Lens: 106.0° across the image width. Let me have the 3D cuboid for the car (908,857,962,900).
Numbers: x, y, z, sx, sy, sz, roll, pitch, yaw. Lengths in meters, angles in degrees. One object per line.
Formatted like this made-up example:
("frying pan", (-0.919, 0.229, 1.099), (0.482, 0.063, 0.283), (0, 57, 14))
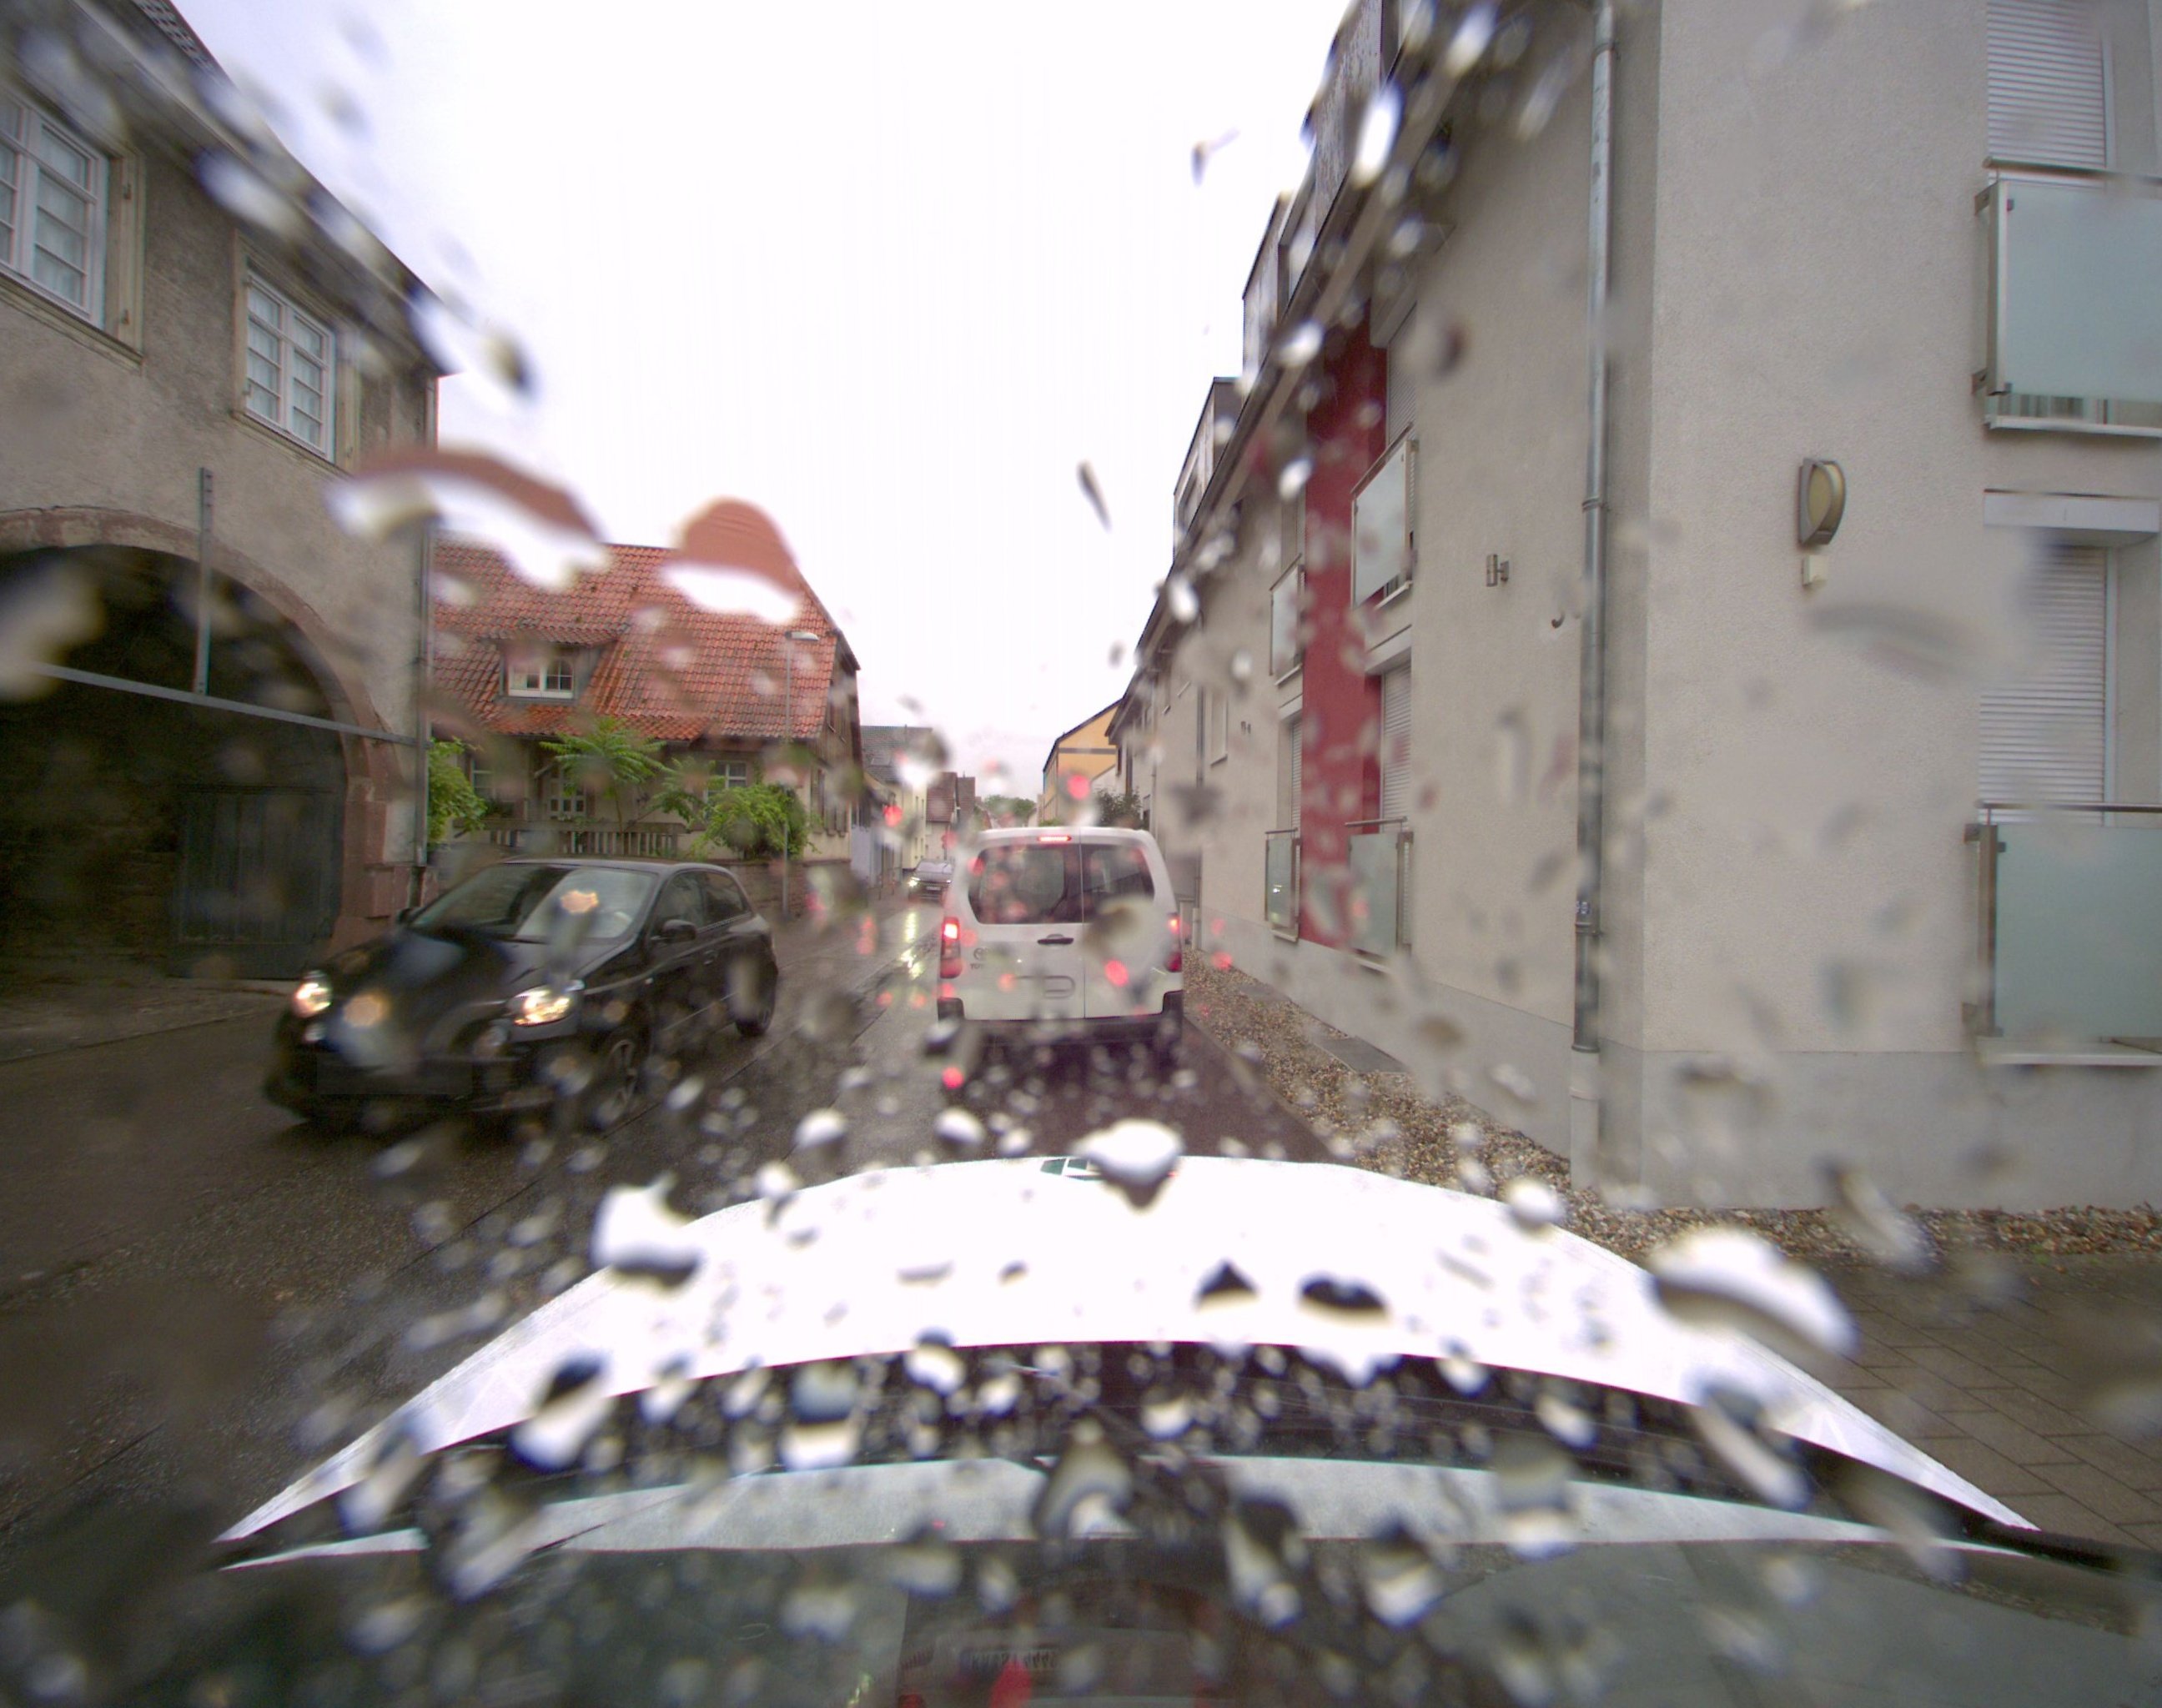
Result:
("car", (-5.619, 0.910, 31.703), (1.831, 1.556, 4.228), (1, -1, -7))

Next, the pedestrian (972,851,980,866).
("pedestrian", (-13.426, 0.630, 104.120), (1.049, 1.893, 0.875), (0, -1, -7))

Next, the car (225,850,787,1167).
("car", (-3.440, 0.763, 5.815), (1.602, 1.513, 3.681), (1, 0, -5))

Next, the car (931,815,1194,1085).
("car", (-0.328, 0.645, 7.467), (1.773, 1.780, 3.991), (0, -1, -7))

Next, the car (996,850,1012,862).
("car", (-9.197, 0.305, 97.144), (1.778, 1.395, 3.989), (0, -1, -7))

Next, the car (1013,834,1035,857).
("car", (-5.324, -0.764, 76.610), (1.989, 2.014, 3.995), (0, -1, -3))

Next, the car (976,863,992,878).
("car", (-10.278, 1.718, 86.184), (1.559, 1.477, 3.990), (0, -1, -7))
